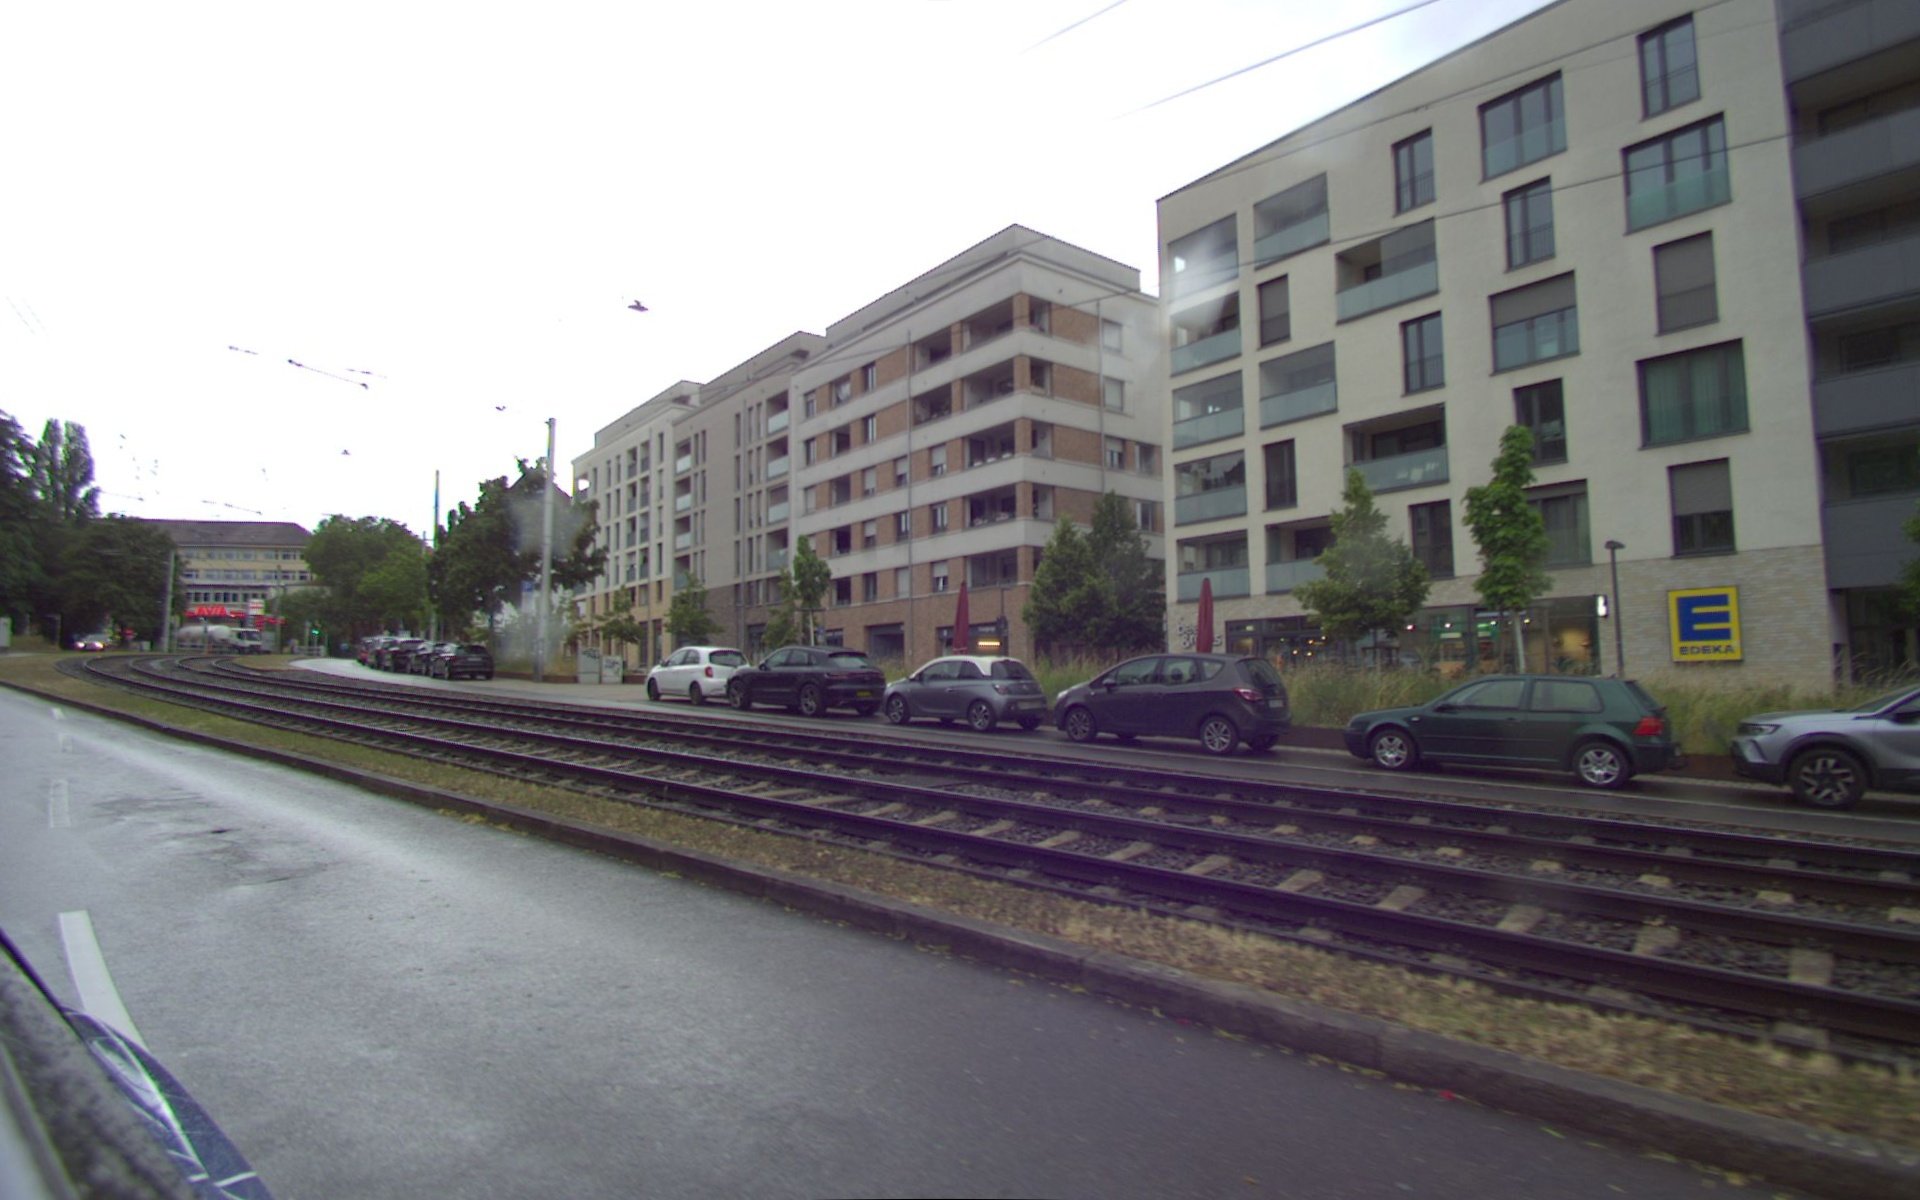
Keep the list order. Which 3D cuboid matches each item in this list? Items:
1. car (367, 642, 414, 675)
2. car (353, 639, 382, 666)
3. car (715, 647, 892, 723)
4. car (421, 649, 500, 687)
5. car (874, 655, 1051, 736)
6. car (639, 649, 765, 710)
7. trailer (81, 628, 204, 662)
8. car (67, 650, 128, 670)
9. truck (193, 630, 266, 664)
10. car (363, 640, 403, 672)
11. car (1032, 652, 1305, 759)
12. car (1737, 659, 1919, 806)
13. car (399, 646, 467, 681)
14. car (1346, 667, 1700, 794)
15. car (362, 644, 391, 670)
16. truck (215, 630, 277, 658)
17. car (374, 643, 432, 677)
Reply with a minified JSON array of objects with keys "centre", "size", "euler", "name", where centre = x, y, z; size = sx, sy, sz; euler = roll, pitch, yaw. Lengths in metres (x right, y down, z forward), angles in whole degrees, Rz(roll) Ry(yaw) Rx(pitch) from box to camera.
[{"centre":[-30.741,3.127,54.534],"size":[1.708,1.657,4.542],"euler":[2,-3,-35],"name":"car"},{"centre":[-41.942,3.703,71.631],"size":[1.559,1.873,4.345],"euler":[1,-2,-33],"name":"car"},{"centre":[-3.787,1.971,24.049],"size":[4.404,1.573,1.747],"euler":[-1,-4,42],"name":"car"},{"centre":[-20.562,2.742,41.592],"size":[1.941,1.442,4.206],"euler":[3,-3,-40],"name":"car"},{"centre":[0.006,1.902,20.664],"size":[3.450,1.446,1.532],"euler":[-1,-4,42],"name":"car"},{"centre":[-7.041,2.124,27.453],"size":[1.744,1.490,3.739],"euler":[5,-4,-41],"name":"car"},{"centre":[-86.262,4.787,107.061],"size":[9.666,3.422,2.822],"euler":[3,-4,-28],"name":"trailer"},{"centre":[-65.846,4.572,77.325],"size":[1.860,1.502,3.858],"euler":[2,-3,-12],"name":"car"},{"centre":[-79.744,5.158,110.629],"size":[6.020,3.426,2.846],"euler":[4,-5,-29],"name":"truck"},{"centre":[-33.977,3.270,59.539],"size":[1.641,1.761,4.267],"euler":[3,-4,-35],"name":"car"},{"centre":[3.461,1.704,17.294],"size":[4.317,1.525,1.701],"euler":[-1,-4,42],"name":"car"},{"centre":[11.077,1.495,11.191],"size":[3.916,1.515,1.756],"euler":[-1,-5,38],"name":"car"},{"centre":[-24.230,2.861,46.436],"size":[1.716,1.500,4.262],"euler":[3,-3,-42],"name":"car"},{"centre":[7.566,1.659,13.860],"size":[4.009,1.373,1.532],"euler":[-1,-3,42],"name":"car"},{"centre":[-36.478,3.563,63.325],"size":[1.449,1.543,2.940],"euler":[3,-4,-29],"name":"car"},{"centre":[-95.073,5.906,135.043],"size":[2.619,3.596,10.277],"euler":[2,-3,-11],"name":"truck"},{"centre":[-27.607,2.943,50.120],"size":[1.779,1.596,4.708],"euler":[3,-3,-38],"name":"car"}]
